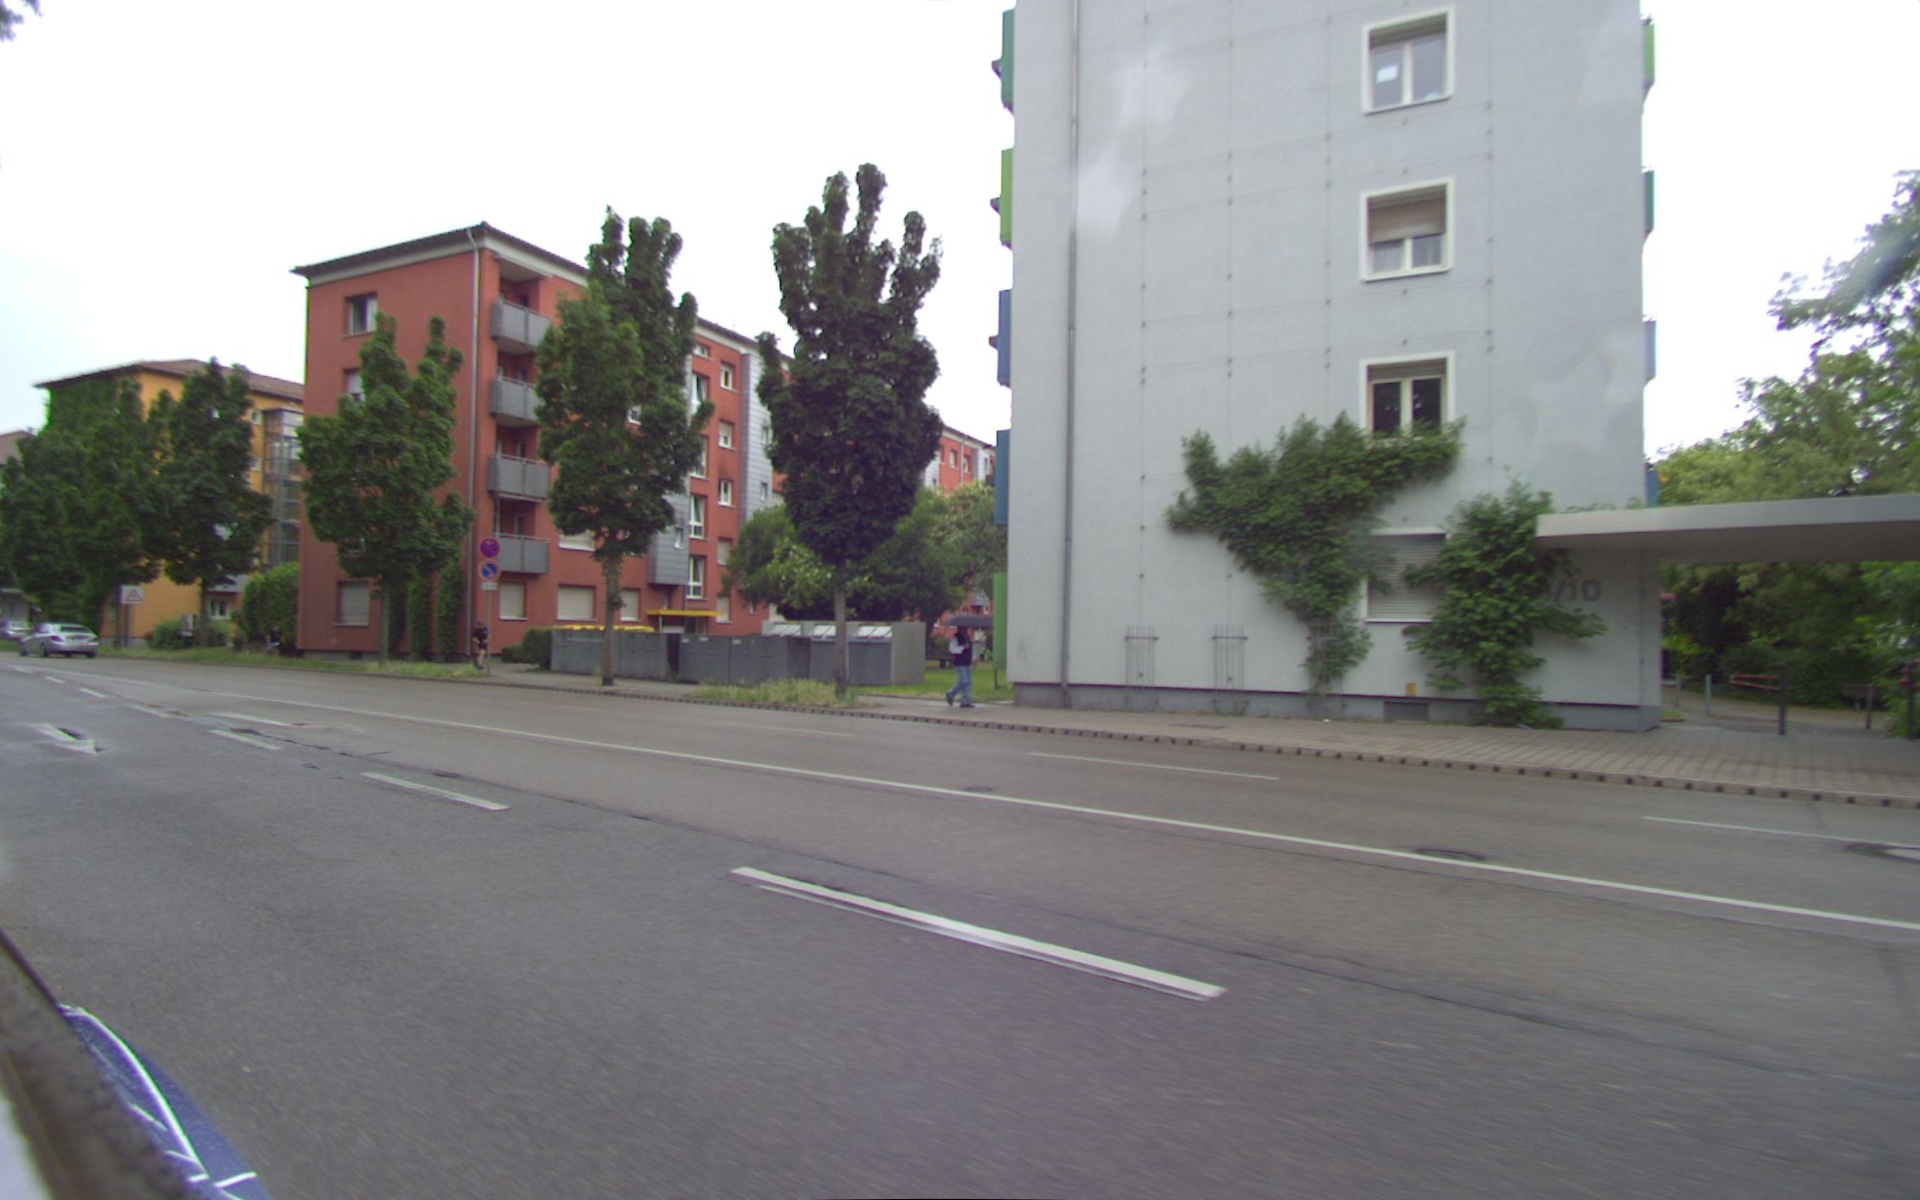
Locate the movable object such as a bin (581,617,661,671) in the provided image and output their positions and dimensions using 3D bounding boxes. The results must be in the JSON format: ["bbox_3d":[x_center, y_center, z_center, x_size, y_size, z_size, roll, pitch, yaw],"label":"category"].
[{"bbox_3d":[-9.875,1.266,29.455,2.082,1.496,1.204,-1,-3,35],"label":"movable object such as a bin"}]

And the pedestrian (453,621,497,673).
[{"bbox_3d":[-14.519,1.414,30.323,1.066,1.529,0.687,-1,-3,32],"label":"pedestrian"}]

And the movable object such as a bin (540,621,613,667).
[{"bbox_3d":[-11.643,1.319,30.719,1.962,1.341,1.147,-1,-3,35],"label":"movable object such as a bin"}]

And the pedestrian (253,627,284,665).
[{"bbox_3d":[-26.599,1.759,38.933,0.833,1.460,0.666,-1,-3,32],"label":"pedestrian"}]

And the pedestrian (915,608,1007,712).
[{"bbox_3d":[0.030,1.081,18.600,1.261,1.818,1.124,-1,-3,37],"label":"pedestrian"}]

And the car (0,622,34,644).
[{"bbox_3d":[-69.393,2.361,73.685,4.212,1.537,1.717,0,-3,30],"label":"car"}]

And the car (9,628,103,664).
[{"bbox_3d":[-37.922,1.925,42.422,4.616,1.401,1.857,-1,-4,35],"label":"car"}]
